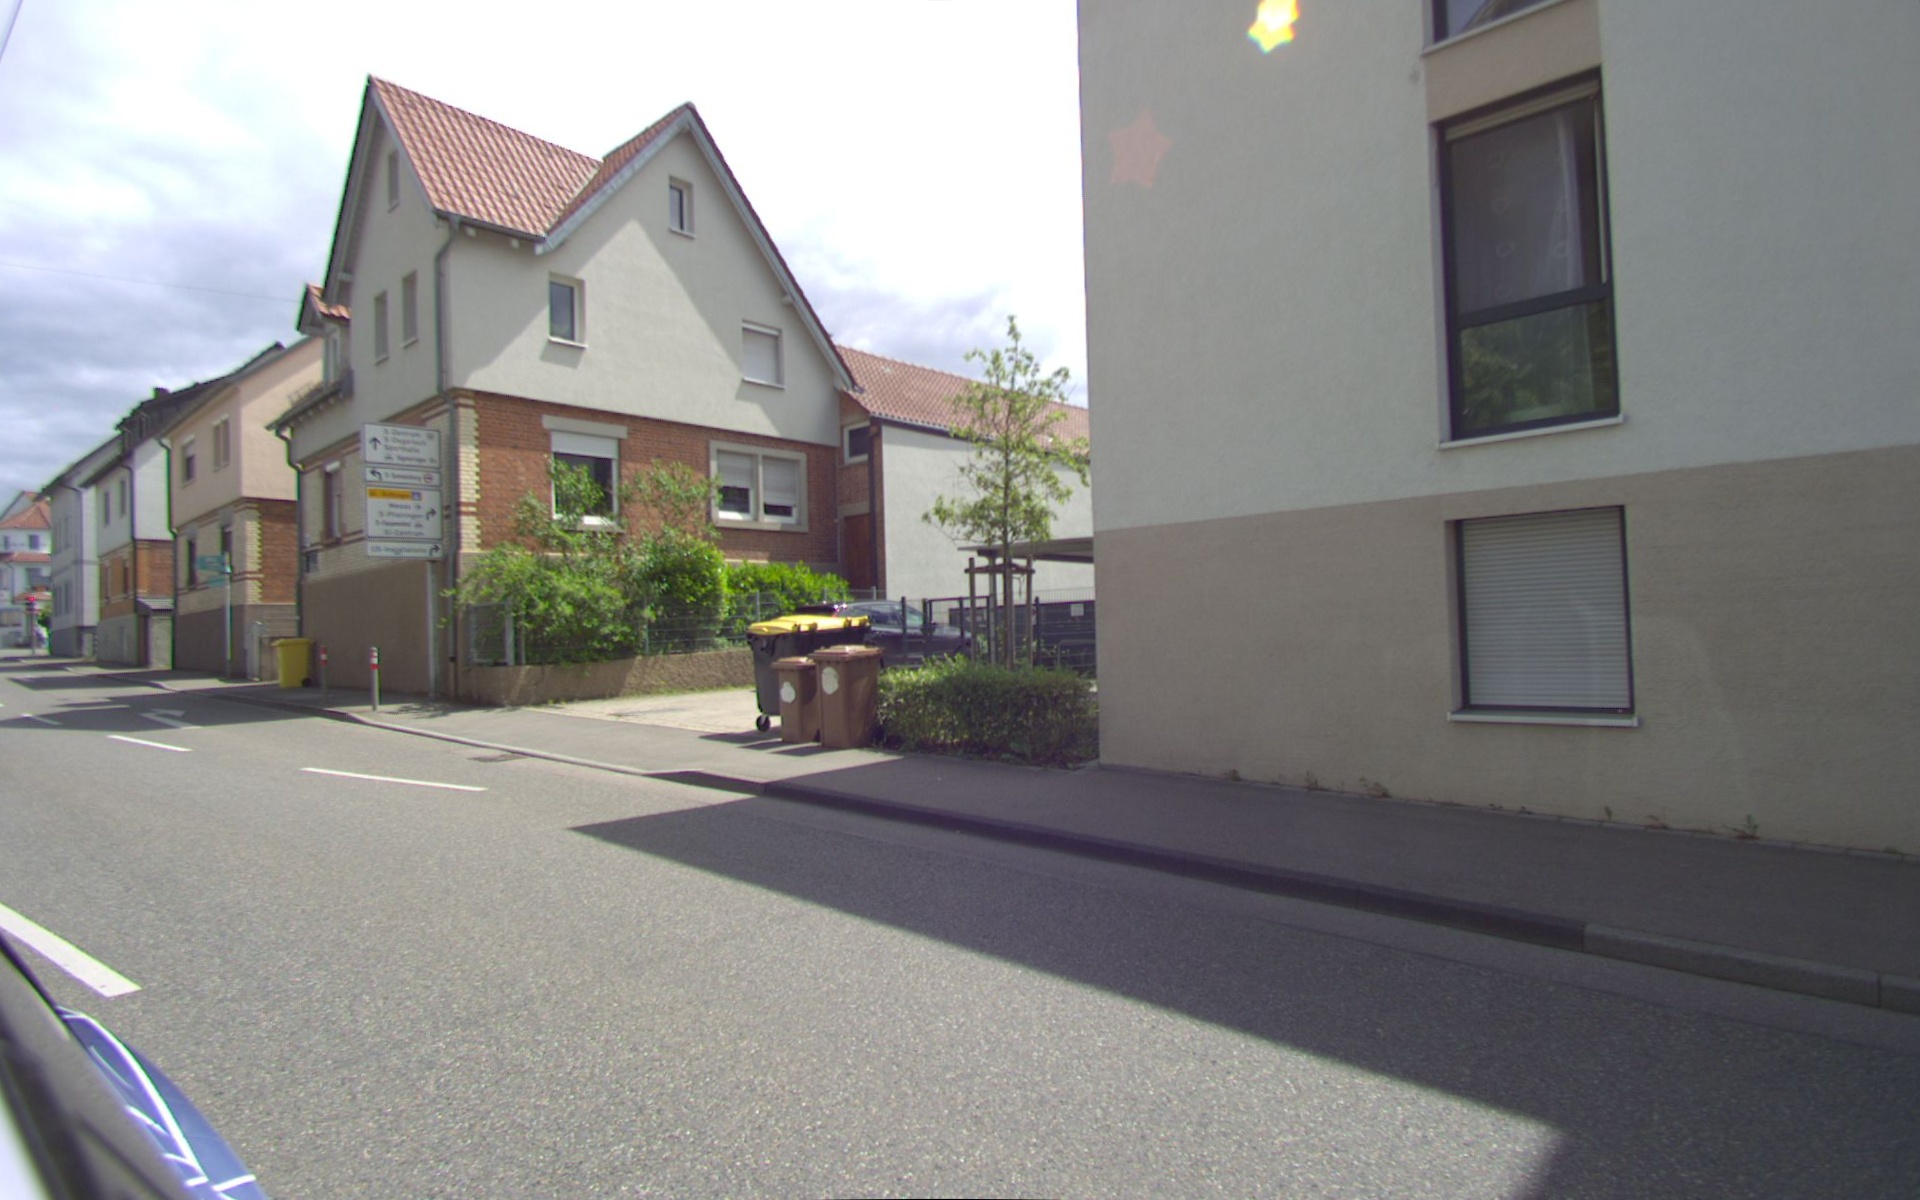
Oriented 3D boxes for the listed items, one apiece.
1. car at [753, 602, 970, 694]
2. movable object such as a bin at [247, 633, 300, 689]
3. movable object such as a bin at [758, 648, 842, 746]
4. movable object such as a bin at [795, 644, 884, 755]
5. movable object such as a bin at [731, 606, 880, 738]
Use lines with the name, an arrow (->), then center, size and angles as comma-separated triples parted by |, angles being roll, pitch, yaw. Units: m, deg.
car -> -1.834, 0.857, 19.746 | 1.999, 1.586, 3.947 | -2, -1, 40
movable object such as a bin -> -14.967, 1.316, 22.062 | 0.801, 1.170, 0.757 | -2, -1, 38
movable object such as a bin -> -1.759, 1.038, 11.102 | 0.657, 1.008, 0.634 | -2, -2, 41
movable object such as a bin -> -1.256, 1.015, 10.543 | 0.659, 1.083, 0.634 | -2, -2, 38
movable object such as a bin -> -1.844, 0.818, 12.152 | 1.169, 1.457, 1.322 | -2, -1, 37
